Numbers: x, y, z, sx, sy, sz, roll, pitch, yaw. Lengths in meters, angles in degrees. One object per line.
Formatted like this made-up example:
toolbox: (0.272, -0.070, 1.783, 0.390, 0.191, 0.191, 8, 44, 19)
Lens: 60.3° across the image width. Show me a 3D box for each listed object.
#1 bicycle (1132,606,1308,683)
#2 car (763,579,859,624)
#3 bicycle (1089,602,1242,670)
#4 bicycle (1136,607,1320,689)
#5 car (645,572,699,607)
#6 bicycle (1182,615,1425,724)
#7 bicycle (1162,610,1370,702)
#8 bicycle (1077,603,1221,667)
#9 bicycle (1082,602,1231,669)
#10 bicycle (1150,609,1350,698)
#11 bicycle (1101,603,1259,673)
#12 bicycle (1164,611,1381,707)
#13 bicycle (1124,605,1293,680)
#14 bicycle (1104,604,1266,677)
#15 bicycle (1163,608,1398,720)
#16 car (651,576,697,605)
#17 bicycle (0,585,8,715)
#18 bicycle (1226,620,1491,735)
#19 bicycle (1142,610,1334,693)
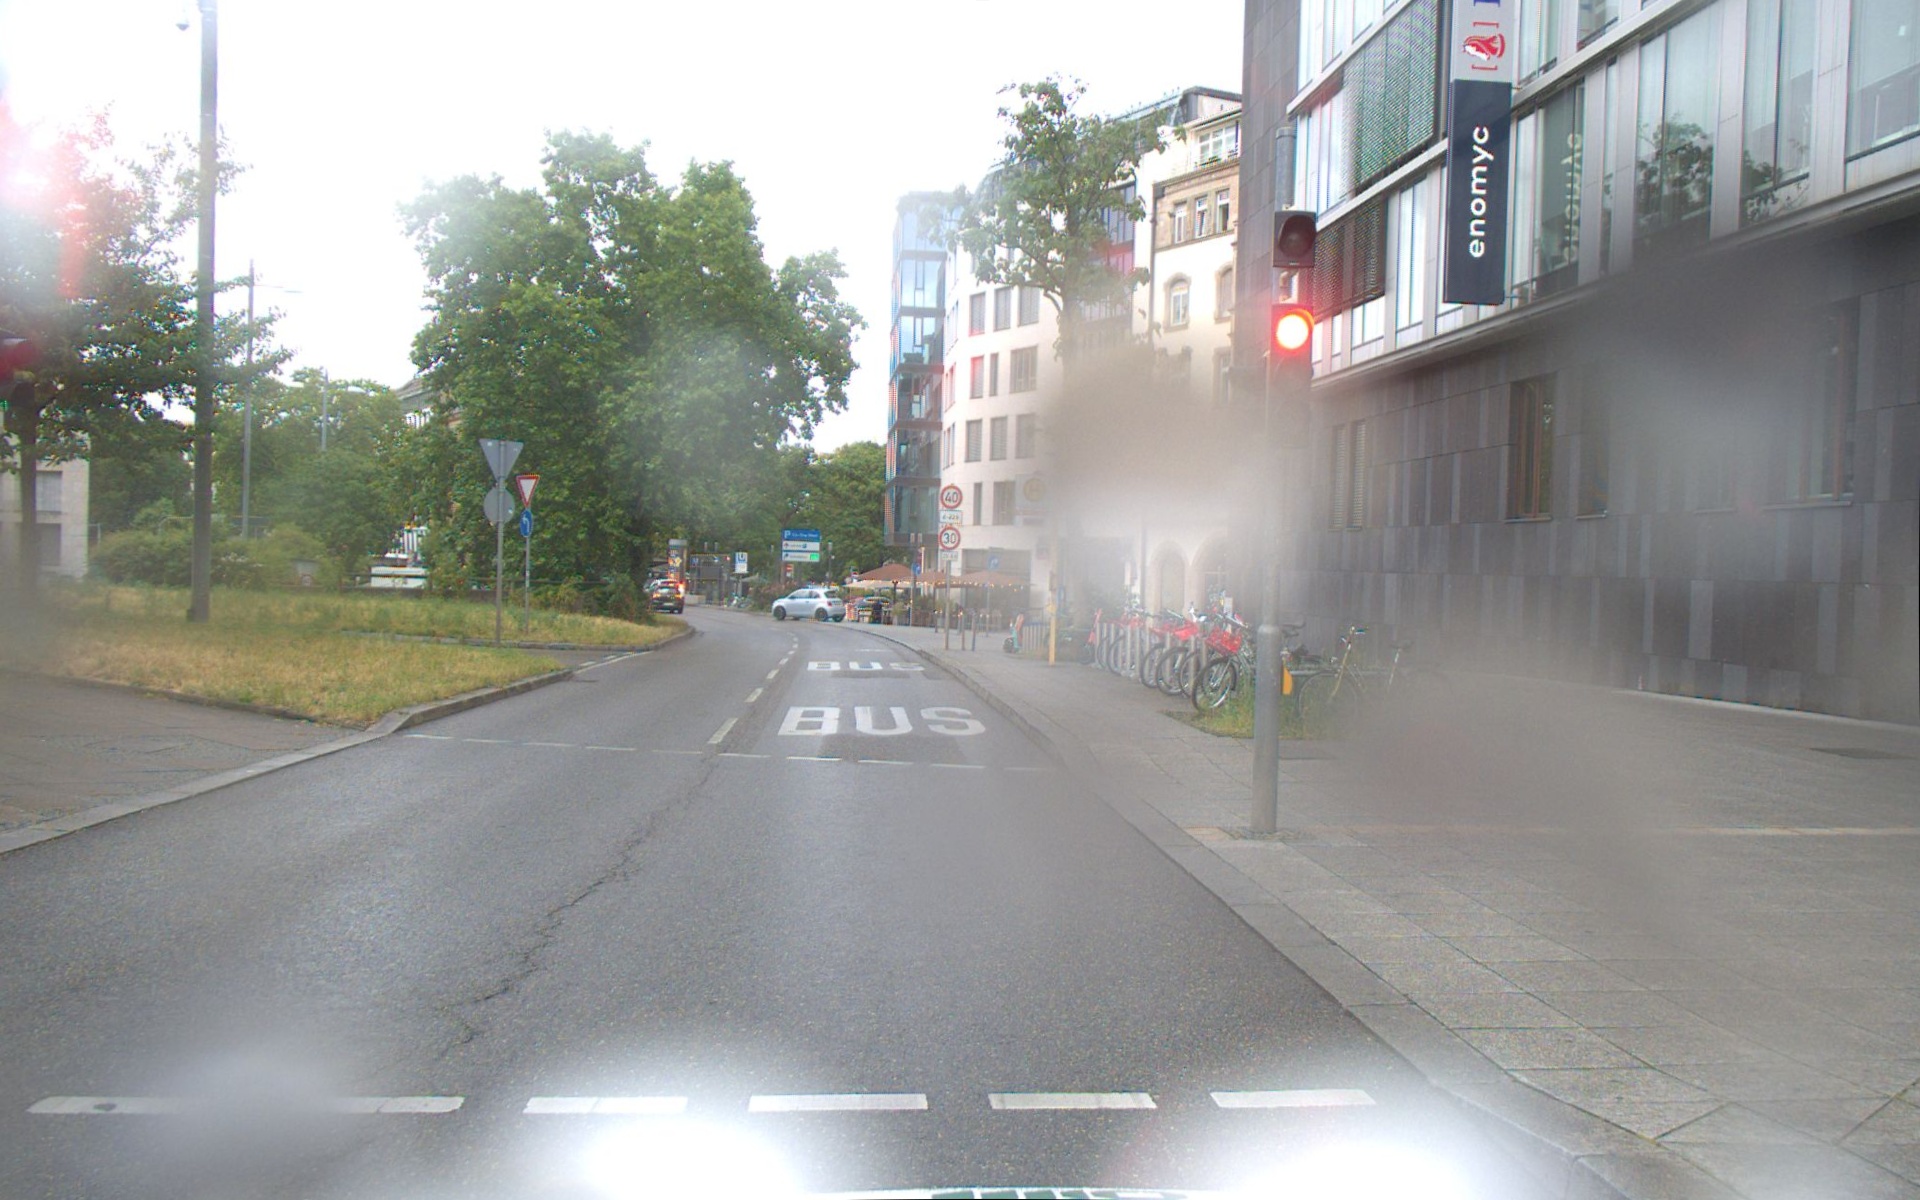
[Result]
bicycle: (3.863, 0.656, 24.651, 2.486, 1.106, 0.677, 1, 0, -6)
car: (-6.979, 0.091, 77.669, 3.911, 1.675, 1.998, 6, 0, 25)
bicycle: (3.477, 0.606, 28.103, 2.486, 1.106, 0.677, 1, 0, -6)
bicycle: (3.790, 0.674, 23.453, 2.486, 1.106, 0.677, 1, 0, -6)
car: (-15.217, -0.591, 87.278, 2.129, 1.735, 4.529, 2, 0, -19)
bicycle: (3.716, 0.746, 17.982, 2.487, 1.106, 0.677, 1, 0, -6)
bicycle: (3.851, 0.702, 20.868, 2.486, 1.106, 0.677, 1, 0, -6)
bicycle: (3.374, 0.620, 29.571, 2.486, 1.106, 0.627, 1, 0, -6)
bicycle: (3.420, 0.615, 28.850, 2.486, 1.106, 0.677, 1, 0, -6)
bicycle: (3.783, 0.694, 21.677, 2.486, 1.106, 0.677, 1, 0, -6)
bicycle: (3.612, 0.623, 27.216, 2.486, 1.106, 0.677, 1, 0, -6)
bicycle: (3.766, 0.704, 20.012, 2.486, 1.106, 0.677, 1, 0, -6)
bicycle: (3.837, 0.651, 25.628, 2.486, 1.106, 0.677, 1, 0, -6)
bicycle: (3.589, 0.642, 26.464, 2.486, 1.106, 0.677, 1, 0, -6)
bicycle: (3.629, 0.723, 18.784, 2.487, 1.106, 0.677, 3, 0, -6)
car: (-17.758, -0.601, 102.530, 2.147, 1.730, 3.977, 2, 0, -20)
bicycle: (-9.149, 0.374, 13.986, 2.084, 1.165, 0.763, 5, 1, 24)
bicycle: (3.961, 0.767, 16.508, 2.487, 1.075, 0.677, 1, 0, -6)
bicycle: (3.775, 0.693, 22.544, 2.486, 1.078, 0.677, 1, 0, -6)
